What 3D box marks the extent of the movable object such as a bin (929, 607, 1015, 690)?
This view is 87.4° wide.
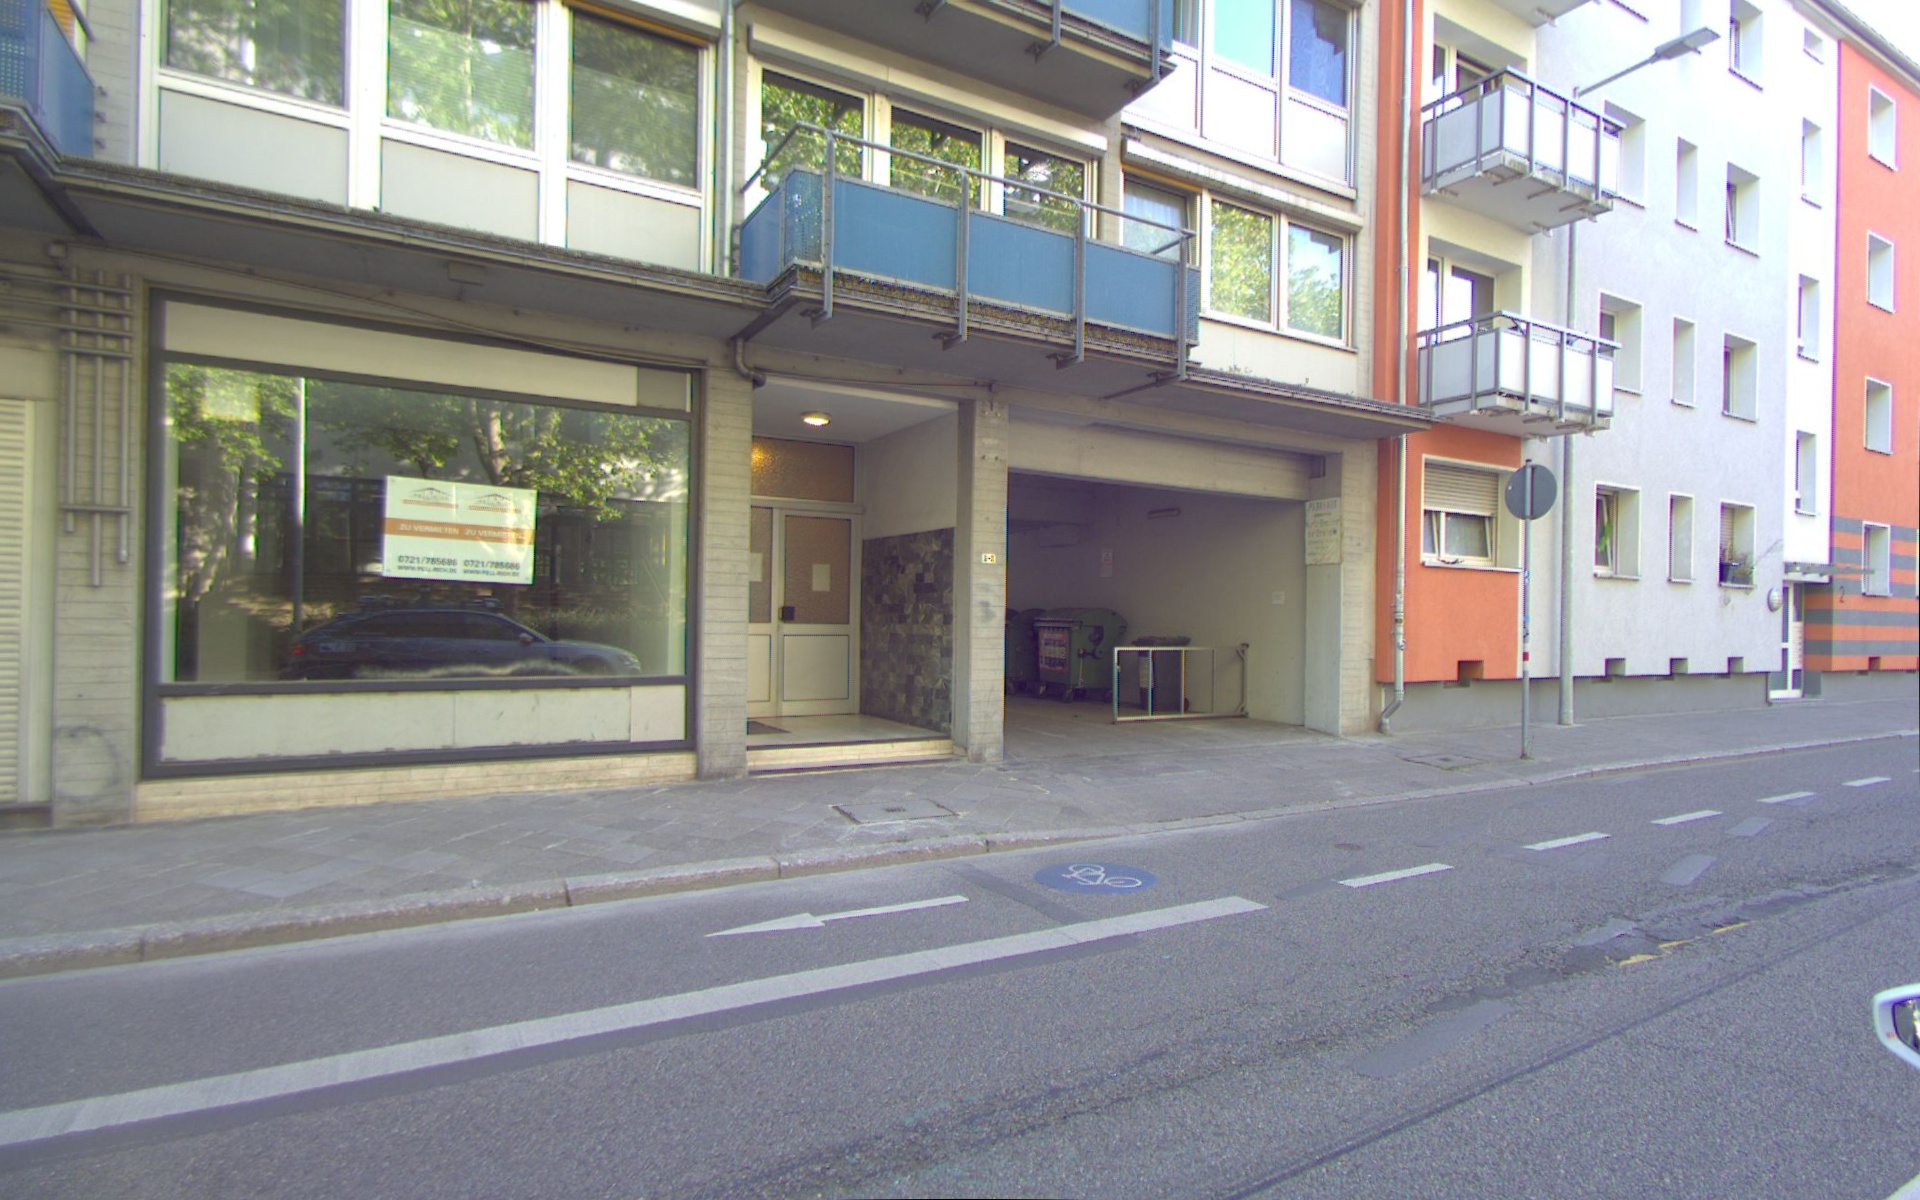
[{"bbox_3d":[0.216,0.870,18.477,1.116,1.444,1.201,1,0,-30],"label":"movable object such as a bin"}]

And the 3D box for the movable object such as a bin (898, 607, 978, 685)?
[{"bbox_3d":[-0.431,0.876,19.625,1.116,1.444,1.201,1,0,-30],"label":"movable object such as a bin"}]

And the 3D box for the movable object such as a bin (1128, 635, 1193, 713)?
[{"bbox_3d":[2.896,1.051,14.509,0.667,1.079,0.639,1,0,-30],"label":"movable object such as a bin"}]

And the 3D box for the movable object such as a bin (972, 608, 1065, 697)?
[{"bbox_3d":[0.987,0.863,17.178,1.116,1.444,1.201,1,0,-30],"label":"movable object such as a bin"}]

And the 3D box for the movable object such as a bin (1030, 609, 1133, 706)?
[{"bbox_3d":[1.898,0.869,15.819,1.116,1.444,1.201,1,0,-30],"label":"movable object such as a bin"}]
